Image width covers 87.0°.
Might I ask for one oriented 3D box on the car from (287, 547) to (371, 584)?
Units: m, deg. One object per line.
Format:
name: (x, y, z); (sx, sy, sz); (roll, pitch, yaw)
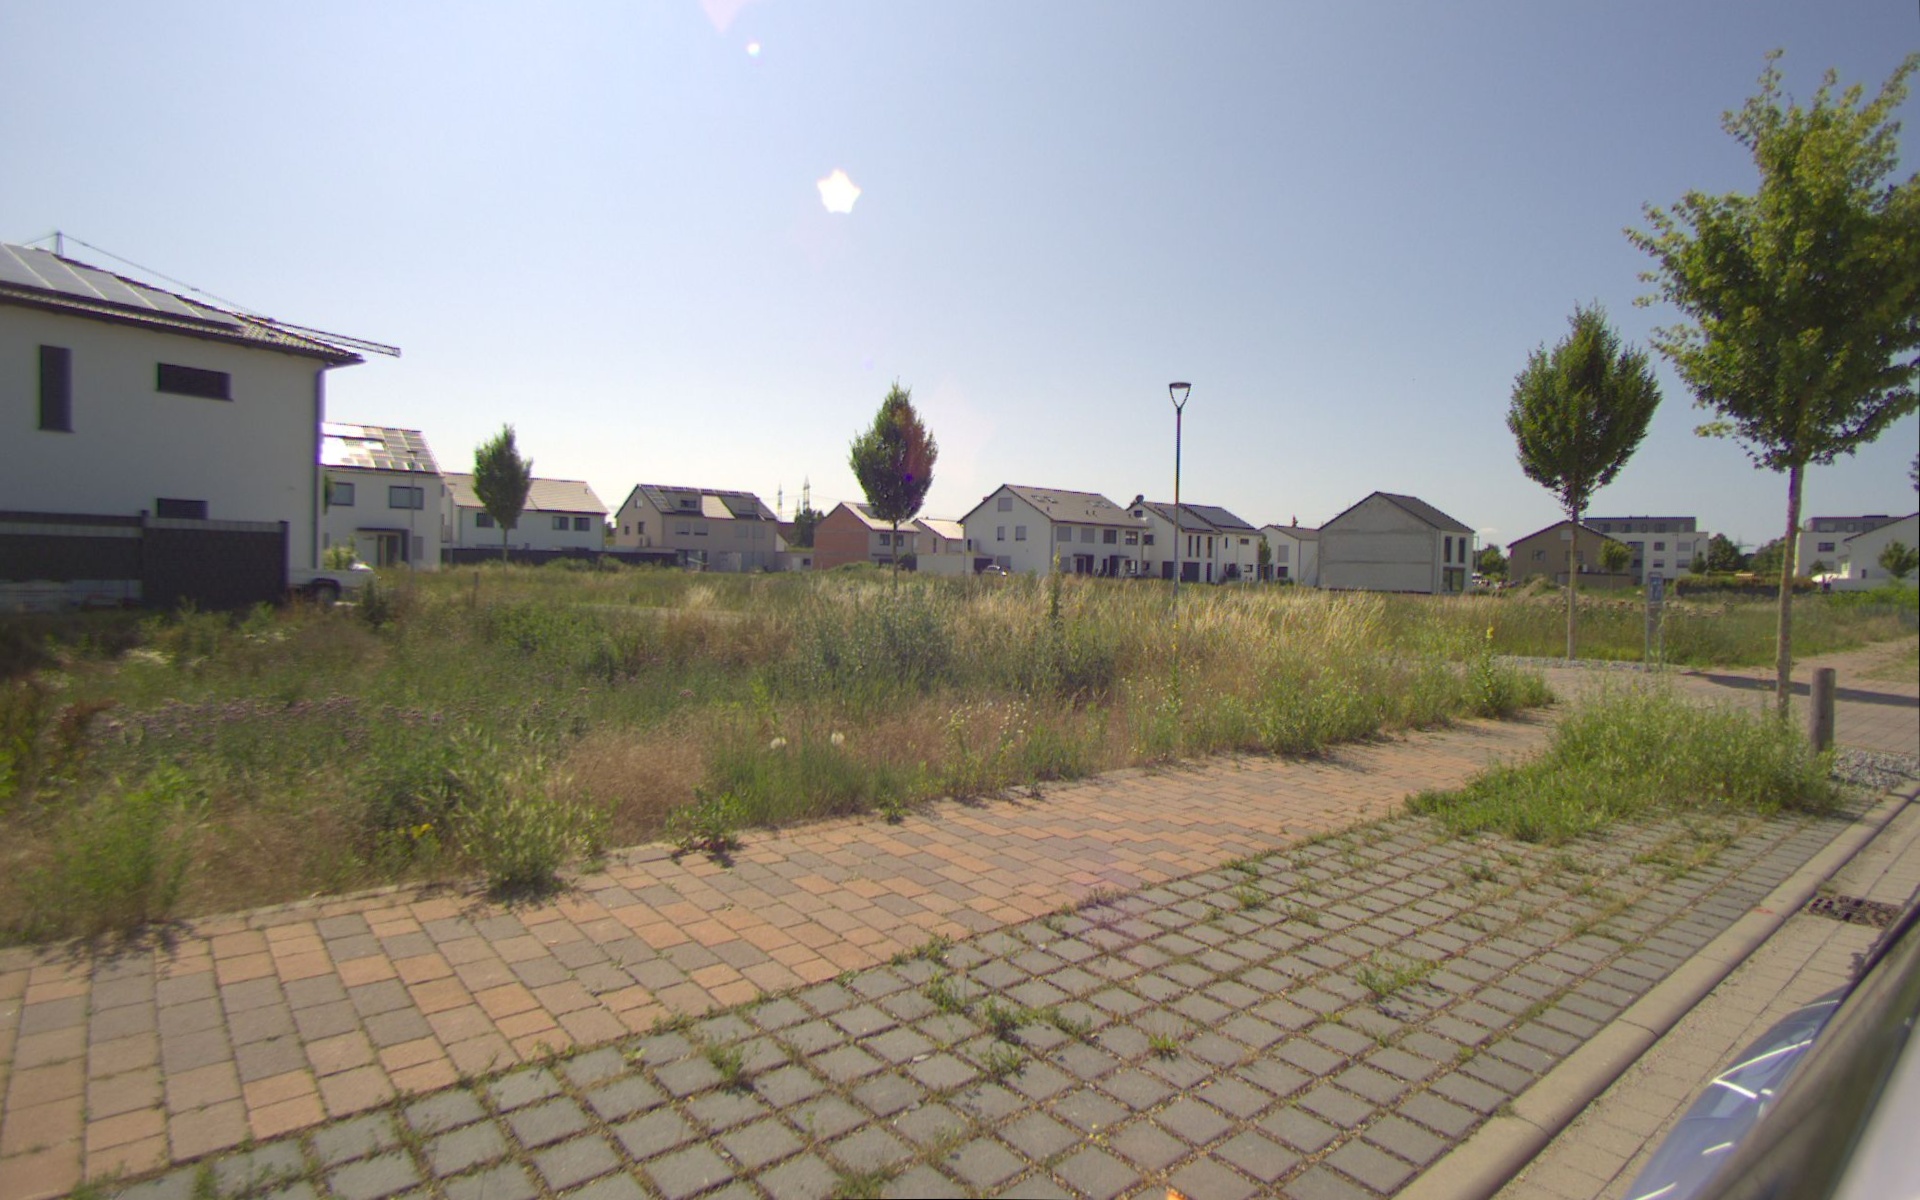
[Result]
car: (-26.186, -1.445, 41.958); (3.810, 1.460, 1.719); (2, 2, 37)
